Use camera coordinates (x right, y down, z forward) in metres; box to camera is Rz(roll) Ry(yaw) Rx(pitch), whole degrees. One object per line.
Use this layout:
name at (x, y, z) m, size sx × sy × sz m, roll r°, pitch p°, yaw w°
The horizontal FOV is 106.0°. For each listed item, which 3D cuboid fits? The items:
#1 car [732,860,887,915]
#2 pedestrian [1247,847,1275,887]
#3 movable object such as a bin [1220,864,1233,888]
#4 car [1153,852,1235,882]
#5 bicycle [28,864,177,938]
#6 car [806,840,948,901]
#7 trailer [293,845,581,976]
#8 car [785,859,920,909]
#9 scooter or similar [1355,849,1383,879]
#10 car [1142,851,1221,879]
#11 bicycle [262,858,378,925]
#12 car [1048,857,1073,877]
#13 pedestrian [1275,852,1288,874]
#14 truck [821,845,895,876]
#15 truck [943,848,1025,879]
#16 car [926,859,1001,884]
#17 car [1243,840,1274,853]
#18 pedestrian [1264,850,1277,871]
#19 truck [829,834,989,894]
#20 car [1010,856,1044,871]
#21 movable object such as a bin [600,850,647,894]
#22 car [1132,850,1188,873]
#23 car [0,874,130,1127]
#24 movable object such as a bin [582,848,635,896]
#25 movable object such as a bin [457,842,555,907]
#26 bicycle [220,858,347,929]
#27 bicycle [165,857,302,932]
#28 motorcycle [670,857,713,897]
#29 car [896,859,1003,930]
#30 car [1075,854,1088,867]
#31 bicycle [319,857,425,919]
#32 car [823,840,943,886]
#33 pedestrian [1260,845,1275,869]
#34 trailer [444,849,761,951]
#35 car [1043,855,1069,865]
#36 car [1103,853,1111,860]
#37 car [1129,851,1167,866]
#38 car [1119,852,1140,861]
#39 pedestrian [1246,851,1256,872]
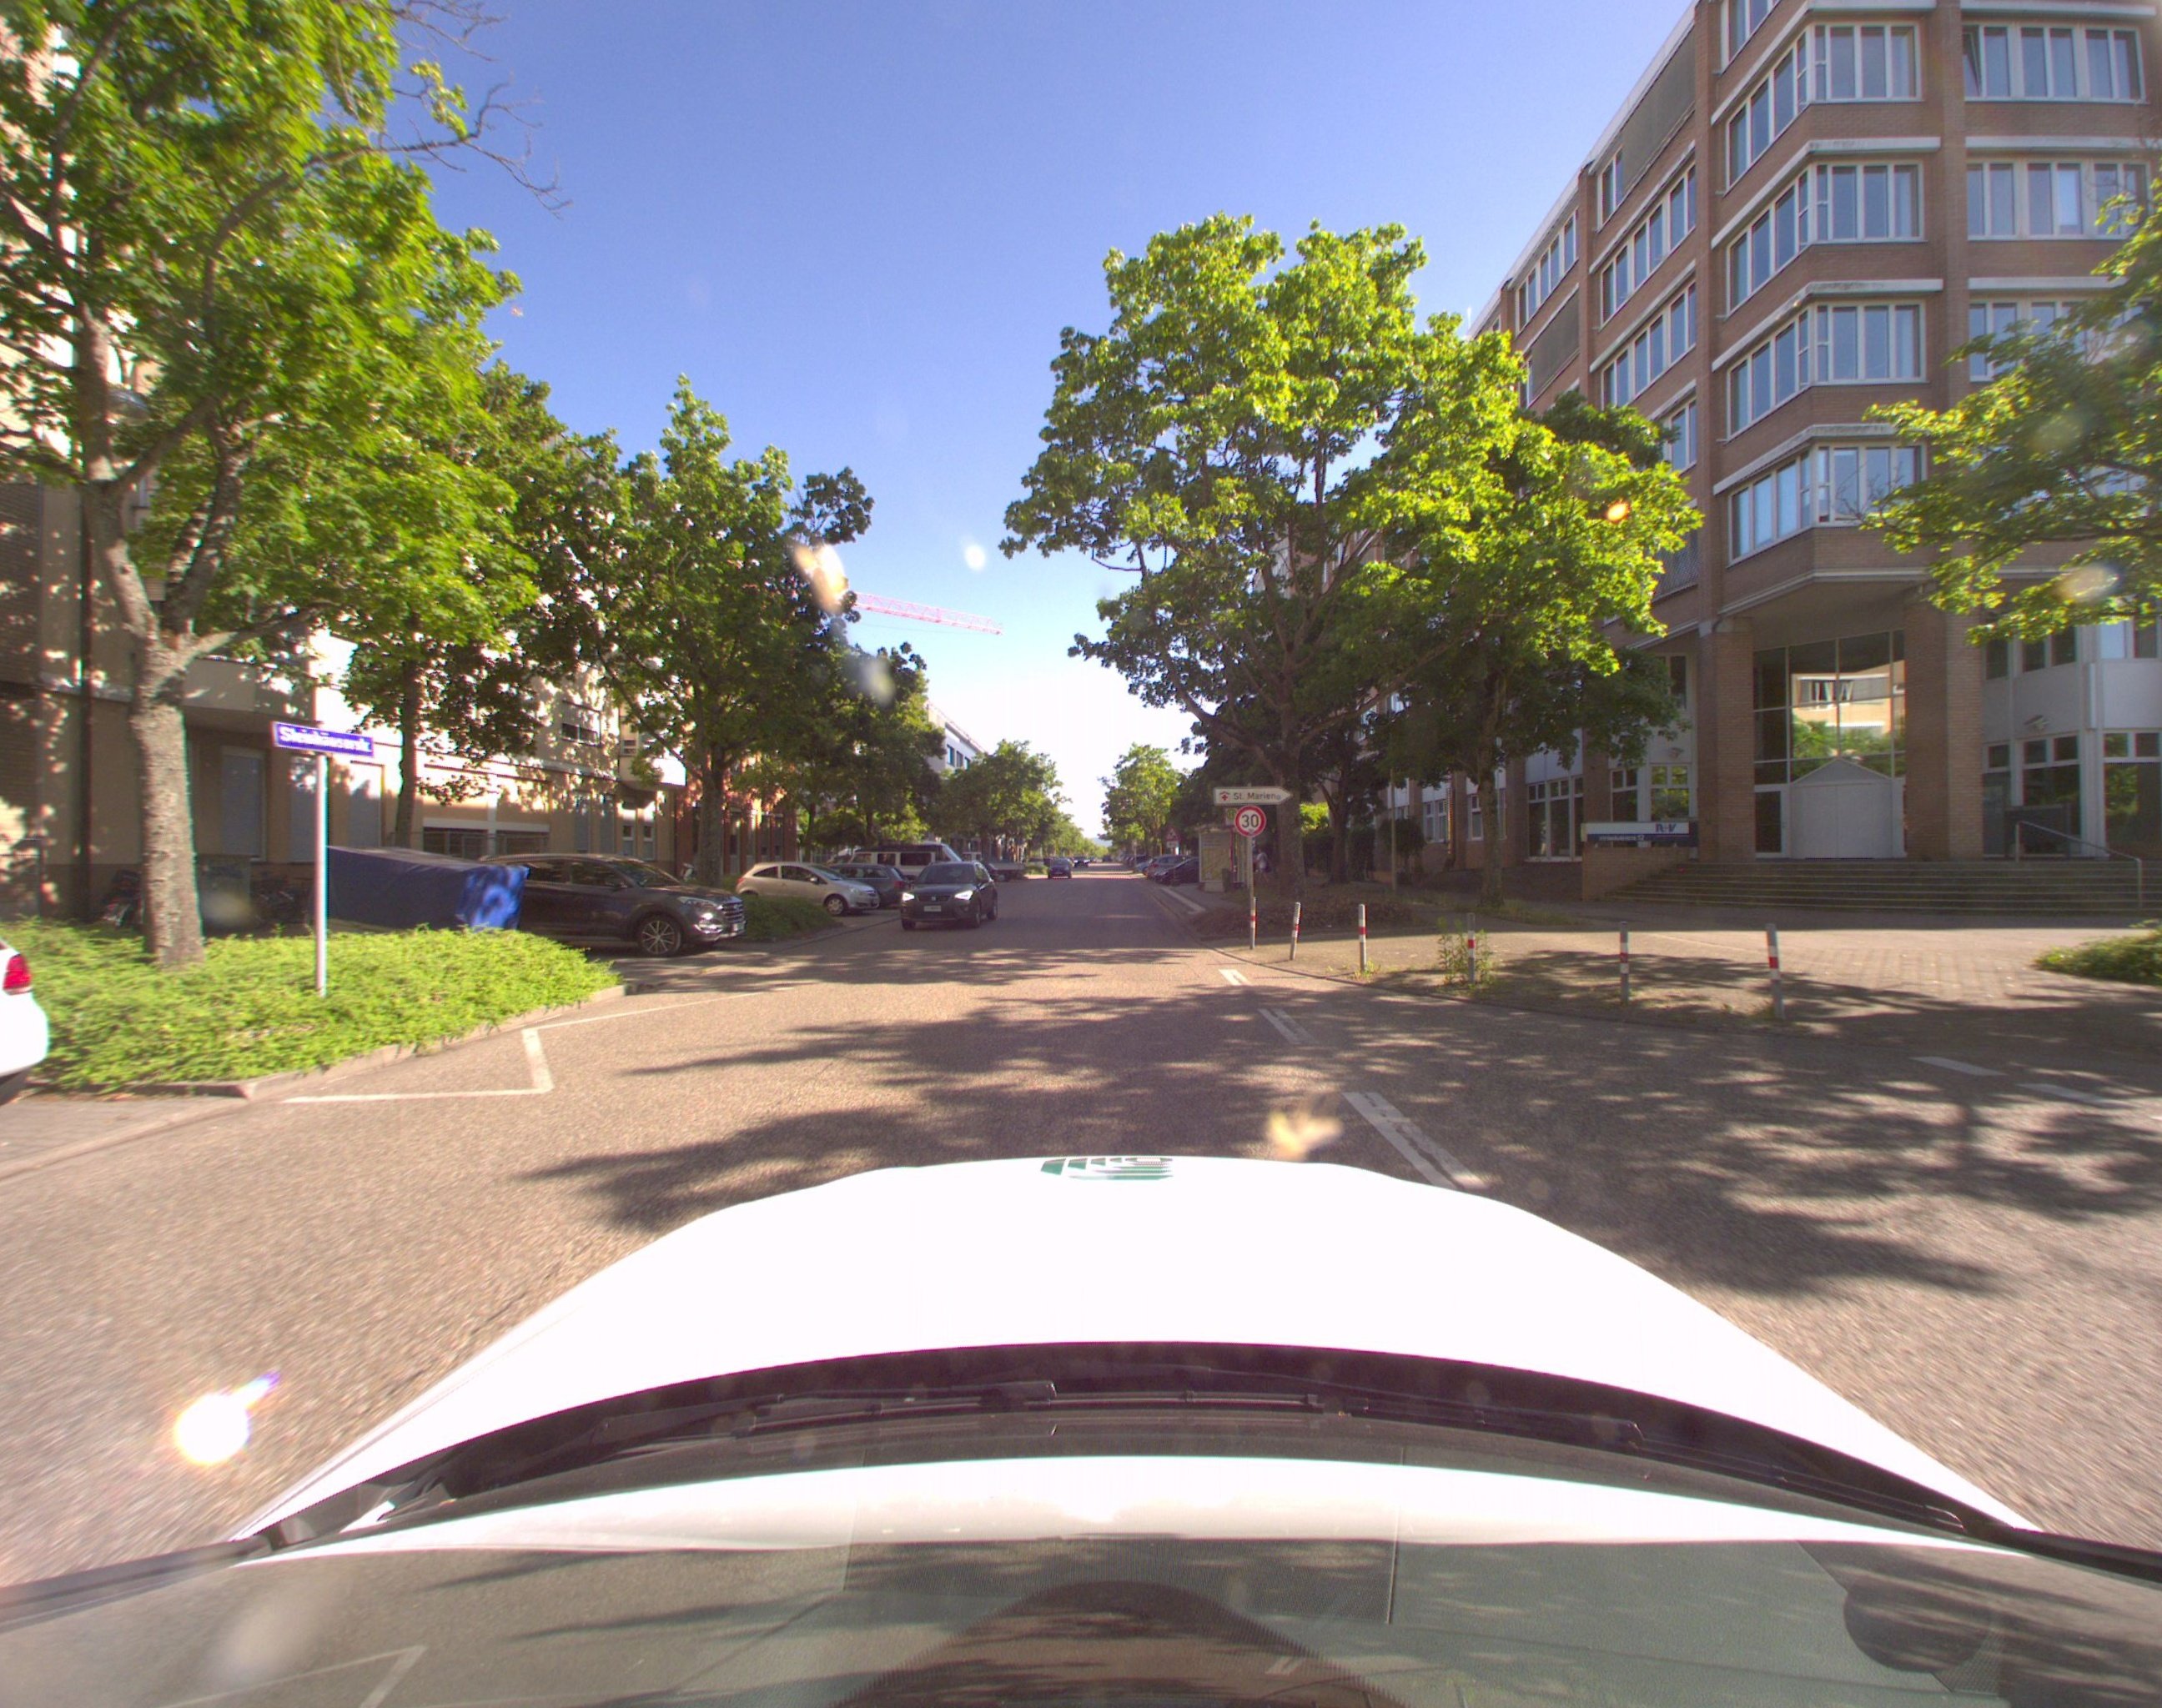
car at (-7.732, 0.925, 23.415) m, size 3.816 × 1.461 × 1.735 m, roll 1°, pitch 0°, yaw 5°
pedestrian at (8.155, 0.578, 36.887) m, size 0.918 × 1.711 × 0.695 m, roll -4°, pitch 0°, yaw -12°
movable object such as a bin at (4.703, 0.723, 26.366) m, size 0.297 × 0.753 × 0.467 m, roll -3°, pitch -1°, yaw 2°
car at (5.646, 0.628, 41.078) m, size 3.922 × 1.439 × 1.774 m, roll 0°, pitch 0°, yaw -1°
bicycle at (-16.740, 0.807, 13.958) m, size 1.692 × 1.229 × 0.450 m, roll 1°, pitch -1°, yaw -12°
car at (-7.169, 0.571, 28.967) m, size 4.467 × 2.052 × 2.000 m, roll 1°, pitch 0°, yaw -1°
trailer at (-9.036, 0.739, 11.609) m, size 2.714 × 1.687 × 1.713 m, roll 1°, pitch 0°, yaw 2°
car at (-7.281, 0.939, 26.178) m, size 3.763 × 1.492 × 1.834 m, roll 1°, pitch 0°, yaw 3°
scooter or similar at (13.055, 0.449, 36.912) m, size 0.547 × 1.325 × 1.804 m, roll 1°, pitch 0°, yaw -3°
car at (5.906, 0.660, 48.233) m, size 4.344 × 1.597 × 1.936 m, roll 0°, pitch 0°, yaw -5°
bicycle at (-16.452, 0.806, 17.650) m, size 1.726 × 1.409 × 0.612 m, roll 1°, pitch -1°, yaw -13°
car at (-1.480, 0.923, 60.361) m, size 1.637 × 1.420 × 4.001 m, roll -1°, pitch 0°, yaw 2°
pedestrian at (14.263, 0.624, 57.876) m, size 0.754 × 1.552 × 0.559 m, roll 0°, pitch 0°, yaw -1°
truck at (-20.659, 0.625, 75.705) m, size 6.084 × 2.704 × 2.577 m, roll -1°, pitch 0°, yaw -1°
truck at (-6.335, 0.604, 53.542) m, size 4.963 × 1.959 × 2.140 m, roll 0°, pitch 0°, yaw 3°
car at (-6.831, 1.001, 47.618) m, size 3.967 × 1.435 × 1.792 m, roll 0°, pitch 0°, yaw 5°
car at (26.127, -1.090, 119.972) m, size 4.062 × 1.783 × 1.998 m, roll 1°, pitch 0°, yaw -3°
pedestrian at (13.473, 0.430, 57.832) m, size 0.698 × 1.458 × 0.715 m, roll -1°, pitch 0°, yaw -1°
truck at (-7.170, 0.427, 34.385) m, size 6.208 × 2.422 × 2.188 m, roll 0°, pitch 0°, yaw 2°
car at (-5.807, 0.993, 88.239) m, size 3.569 × 1.550 × 1.636 m, roll 0°, pitch -3°, yaw -1°
movable object such as a bin at (-16.672, 0.629, 29.697) m, size 1.145 × 1.563 × 1.240 m, roll -1°, pitch 0°, yaw -11°
car at (6.421, 0.573, 66.851) m, size 4.390 × 1.618 × 1.912 m, roll -3°, pitch 0°, yaw 1°
car at (-8.213, 0.835, 4.539) m, size 3.741 × 1.452 × 1.755 m, roll 1°, pitch 0°, yaw 1°
movable object such as a bin at (-16.457, 0.613, 28.402) m, size 1.145 × 1.620 × 1.437 m, roll -1°, pitch 0°, yaw -11°
movable object such as a bin at (-16.512, 0.562, 23.455) m, size 1.592 × 1.796 × 1.666 m, roll -1°, pitch 0°, yaw 4°
bicycle at (-16.398, 0.801, 16.796) m, size 1.731 × 1.409 × 0.610 m, roll 1°, pitch -1°, yaw -21°
bicycle at (-16.558, 0.772, 15.959) m, size 1.731 × 1.409 × 0.610 m, roll 1°, pitch -1°, yaw -21°
motorcycle at (-15.977, 0.915, 33.482) m, size 0.712 × 1.591 × 2.110 m, roll -1°, pitch 0°, yaw 0°
car at (-3.041, 0.895, 19.638) m, size 1.773 × 1.511 × 4.002 m, roll -1°, pitch 0°, yaw 2°
car at (0.067, 0.878, 114.269) m, size 1.886 × 1.684 × 4.352 m, roll -1°, pitch 0°, yaw 0°
bicycle at (-16.649, 0.798, 19.162) m, size 1.731 × 1.409 × 0.610 m, roll 1°, pitch -1°, yaw -21°
car at (-7.535, 0.345, 31.300) m, size 4.093 × 1.662 × 2.000 m, roll 1°, pitch 0°, yaw 0°
pedestrian at (13.808, 0.220, 60.365) m, size 0.696 × 1.711 × 0.918 m, roll -4°, pitch 0°, yaw -9°
trailer at (-7.977, 0.736, 13.917) m, size 4.249 × 1.572 × 1.855 m, roll 1°, pitch 0°, yaw -2°
car at (-3.799, 0.871, 122.869) m, size 3.879 × 1.464 × 1.858 m, roll -1°, pitch 0°, yaw 0°
car at (6.131, 0.583, 190.521) m, size 1.926 × 1.597 × 4.368 m, roll -1°, pitch 0°, yaw 2°
car at (7.939, 0.557, 96.892) m, size 4.255 × 1.633 × 1.857 m, roll -2°, pitch 0°, yaw -1°
car at (10.045, 0.519, 168.427) m, size 3.978 × 1.792 × 1.998 m, roll -1°, pitch 0°, yaw -4°
pedestrian at (12.025, 0.540, 57.631) m, size 0.600 × 1.521 × 0.594 m, roll 0°, pitch 0°, yaw -2°
